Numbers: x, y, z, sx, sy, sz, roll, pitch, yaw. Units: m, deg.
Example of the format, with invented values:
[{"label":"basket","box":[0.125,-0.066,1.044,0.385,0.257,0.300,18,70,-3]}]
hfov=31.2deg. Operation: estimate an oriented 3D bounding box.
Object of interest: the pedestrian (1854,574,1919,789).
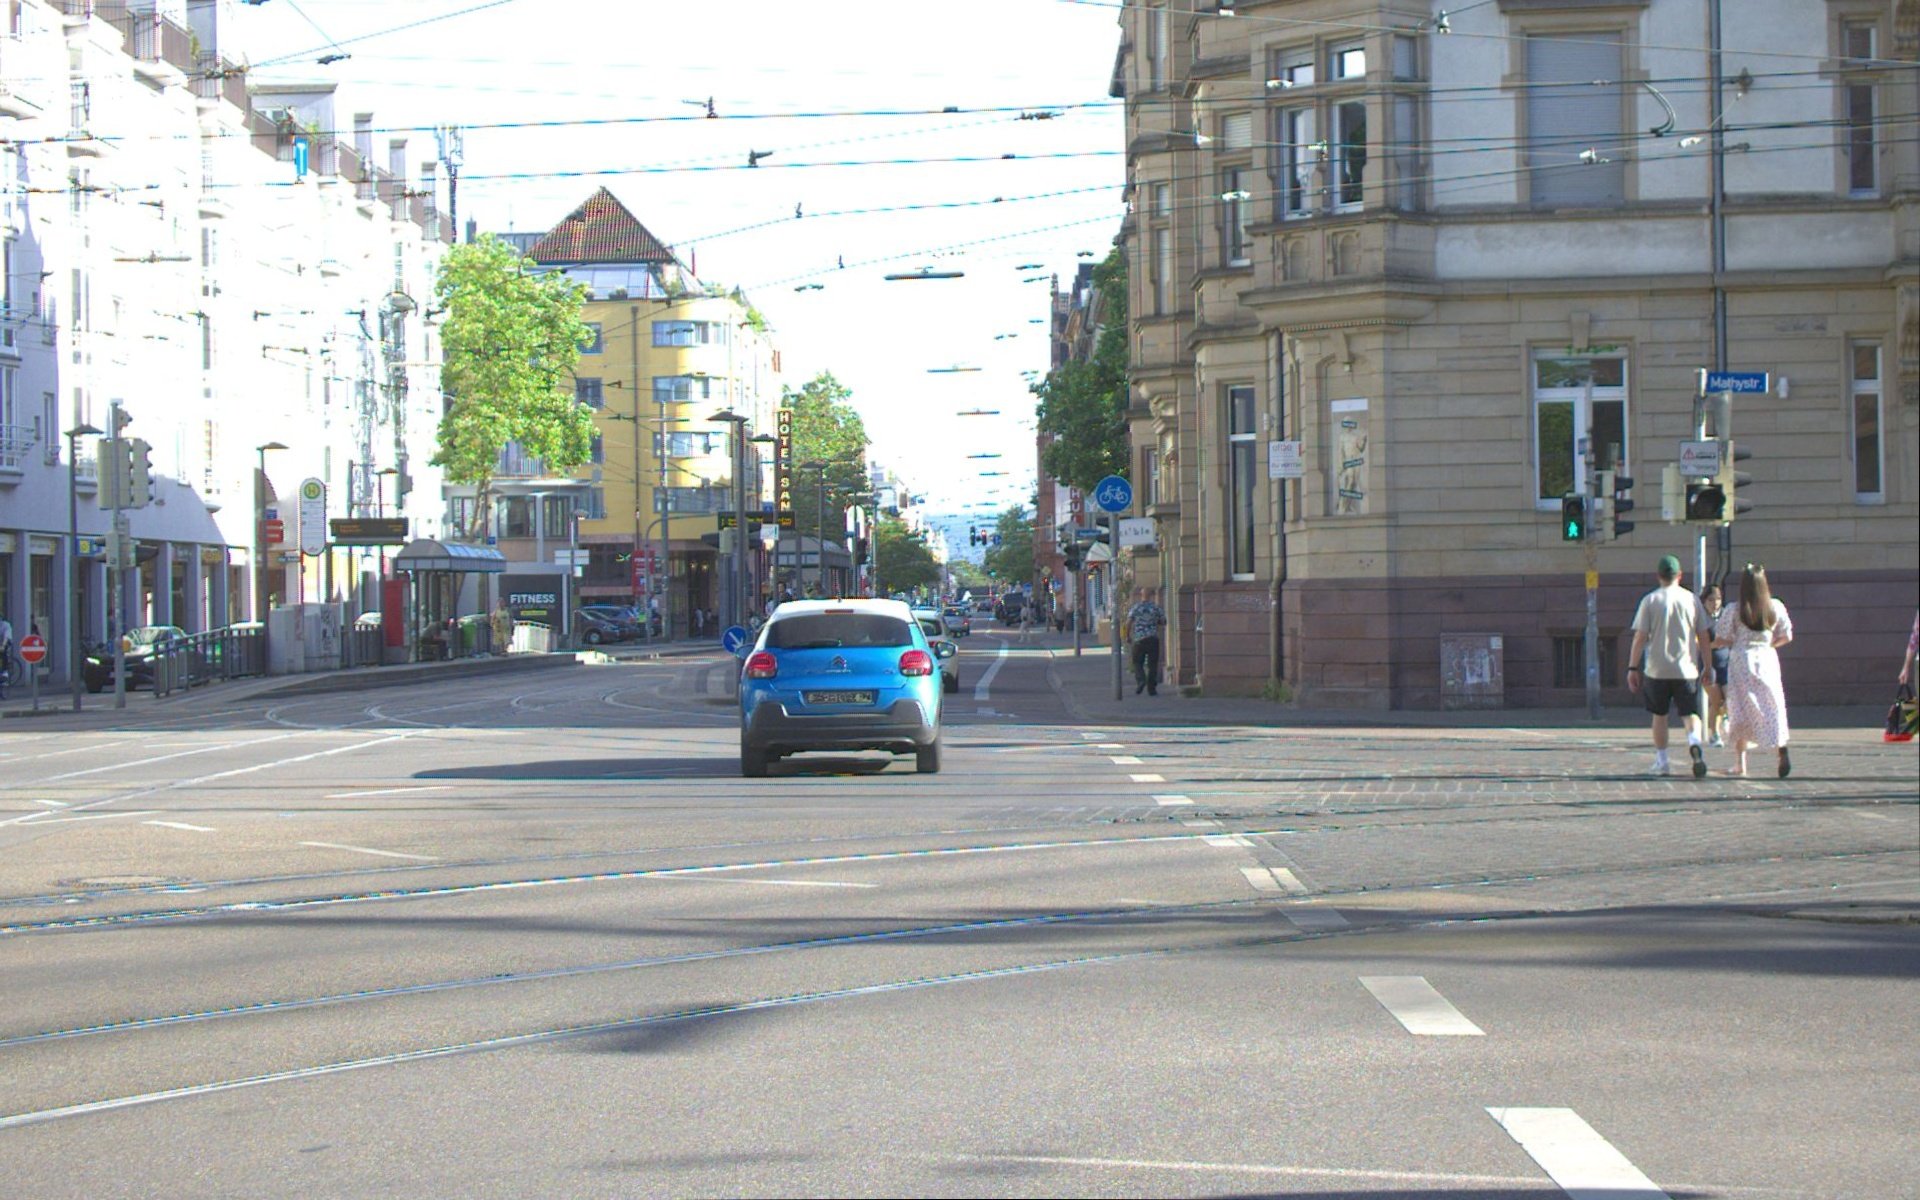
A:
[{"label":"pedestrian","box":[7.480,0.621,26.388,0.924,1.626,0.940,-2,-2,33]}]

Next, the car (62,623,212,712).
[{"label":"car","box":[-18.177,1.467,76.117,2.227,1.904,4.609,0,0,0]}]

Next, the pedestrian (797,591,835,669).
[{"label":"pedestrian","box":[-3.173,0.655,75.699,0.636,1.692,0.933,1,-1,8]}]

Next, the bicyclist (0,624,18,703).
[{"label":"bicyclist","box":[-19.379,1.279,69.240,0.588,1.580,0.896,-1,-1,-1]}]

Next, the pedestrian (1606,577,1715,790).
[{"label":"pedestrian","box":[5.519,0.657,27.069,0.701,1.649,0.631,-1,-1,23]}]

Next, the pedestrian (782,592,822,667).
[{"label":"pedestrian","box":[-3.710,0.691,80.781,0.718,1.771,0.564,-1,0,37]}]

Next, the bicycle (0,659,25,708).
[{"label":"bicycle","box":[-19.429,1.689,69.355,0.594,0.969,2.047,-1,-1,-1]}]

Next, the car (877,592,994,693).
[{"label":"car","box":[-0.407,0.794,62.648,1.993,1.737,4.000,1,-1,1]}]

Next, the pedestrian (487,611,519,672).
[{"label":"pedestrian","box":[-11.784,1.056,88.698,0.731,1.554,0.743,0,0,0]}]

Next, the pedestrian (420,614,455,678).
[{"label":"pedestrian","box":[-12.701,1.115,83.623,0.731,1.522,0.743,0,0,0]}]

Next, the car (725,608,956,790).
[{"label":"car","box":[-0.981,0.810,29.903,1.781,1.446,3.654,1,0,1]}]

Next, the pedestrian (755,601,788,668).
[{"label":"pedestrian","box":[-4.407,0.808,80.204,0.586,1.556,0.469,-1,0,37]}]

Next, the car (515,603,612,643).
[{"label":"car","box":[-16.960,0.986,147.292,3.986,1.669,1.958,0,0,-2]}]

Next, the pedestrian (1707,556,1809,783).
[{"label":"pedestrian","box":[6.243,0.541,26.882,0.644,1.739,0.704,1,-1,23]}]

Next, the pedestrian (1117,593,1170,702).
[{"label":"pedestrian","box":[3.018,0.773,56.665,0.780,1.744,1.093,0,1,-2]}]

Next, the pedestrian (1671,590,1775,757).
[{"label":"pedestrian","box":[7.133,0.685,32.114,0.634,1.532,0.940,-2,-2,33]}]

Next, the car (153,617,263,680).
[{"label":"car","box":[-18.468,1.177,84.567,1.728,1.509,4.404,0,0,0]}]
